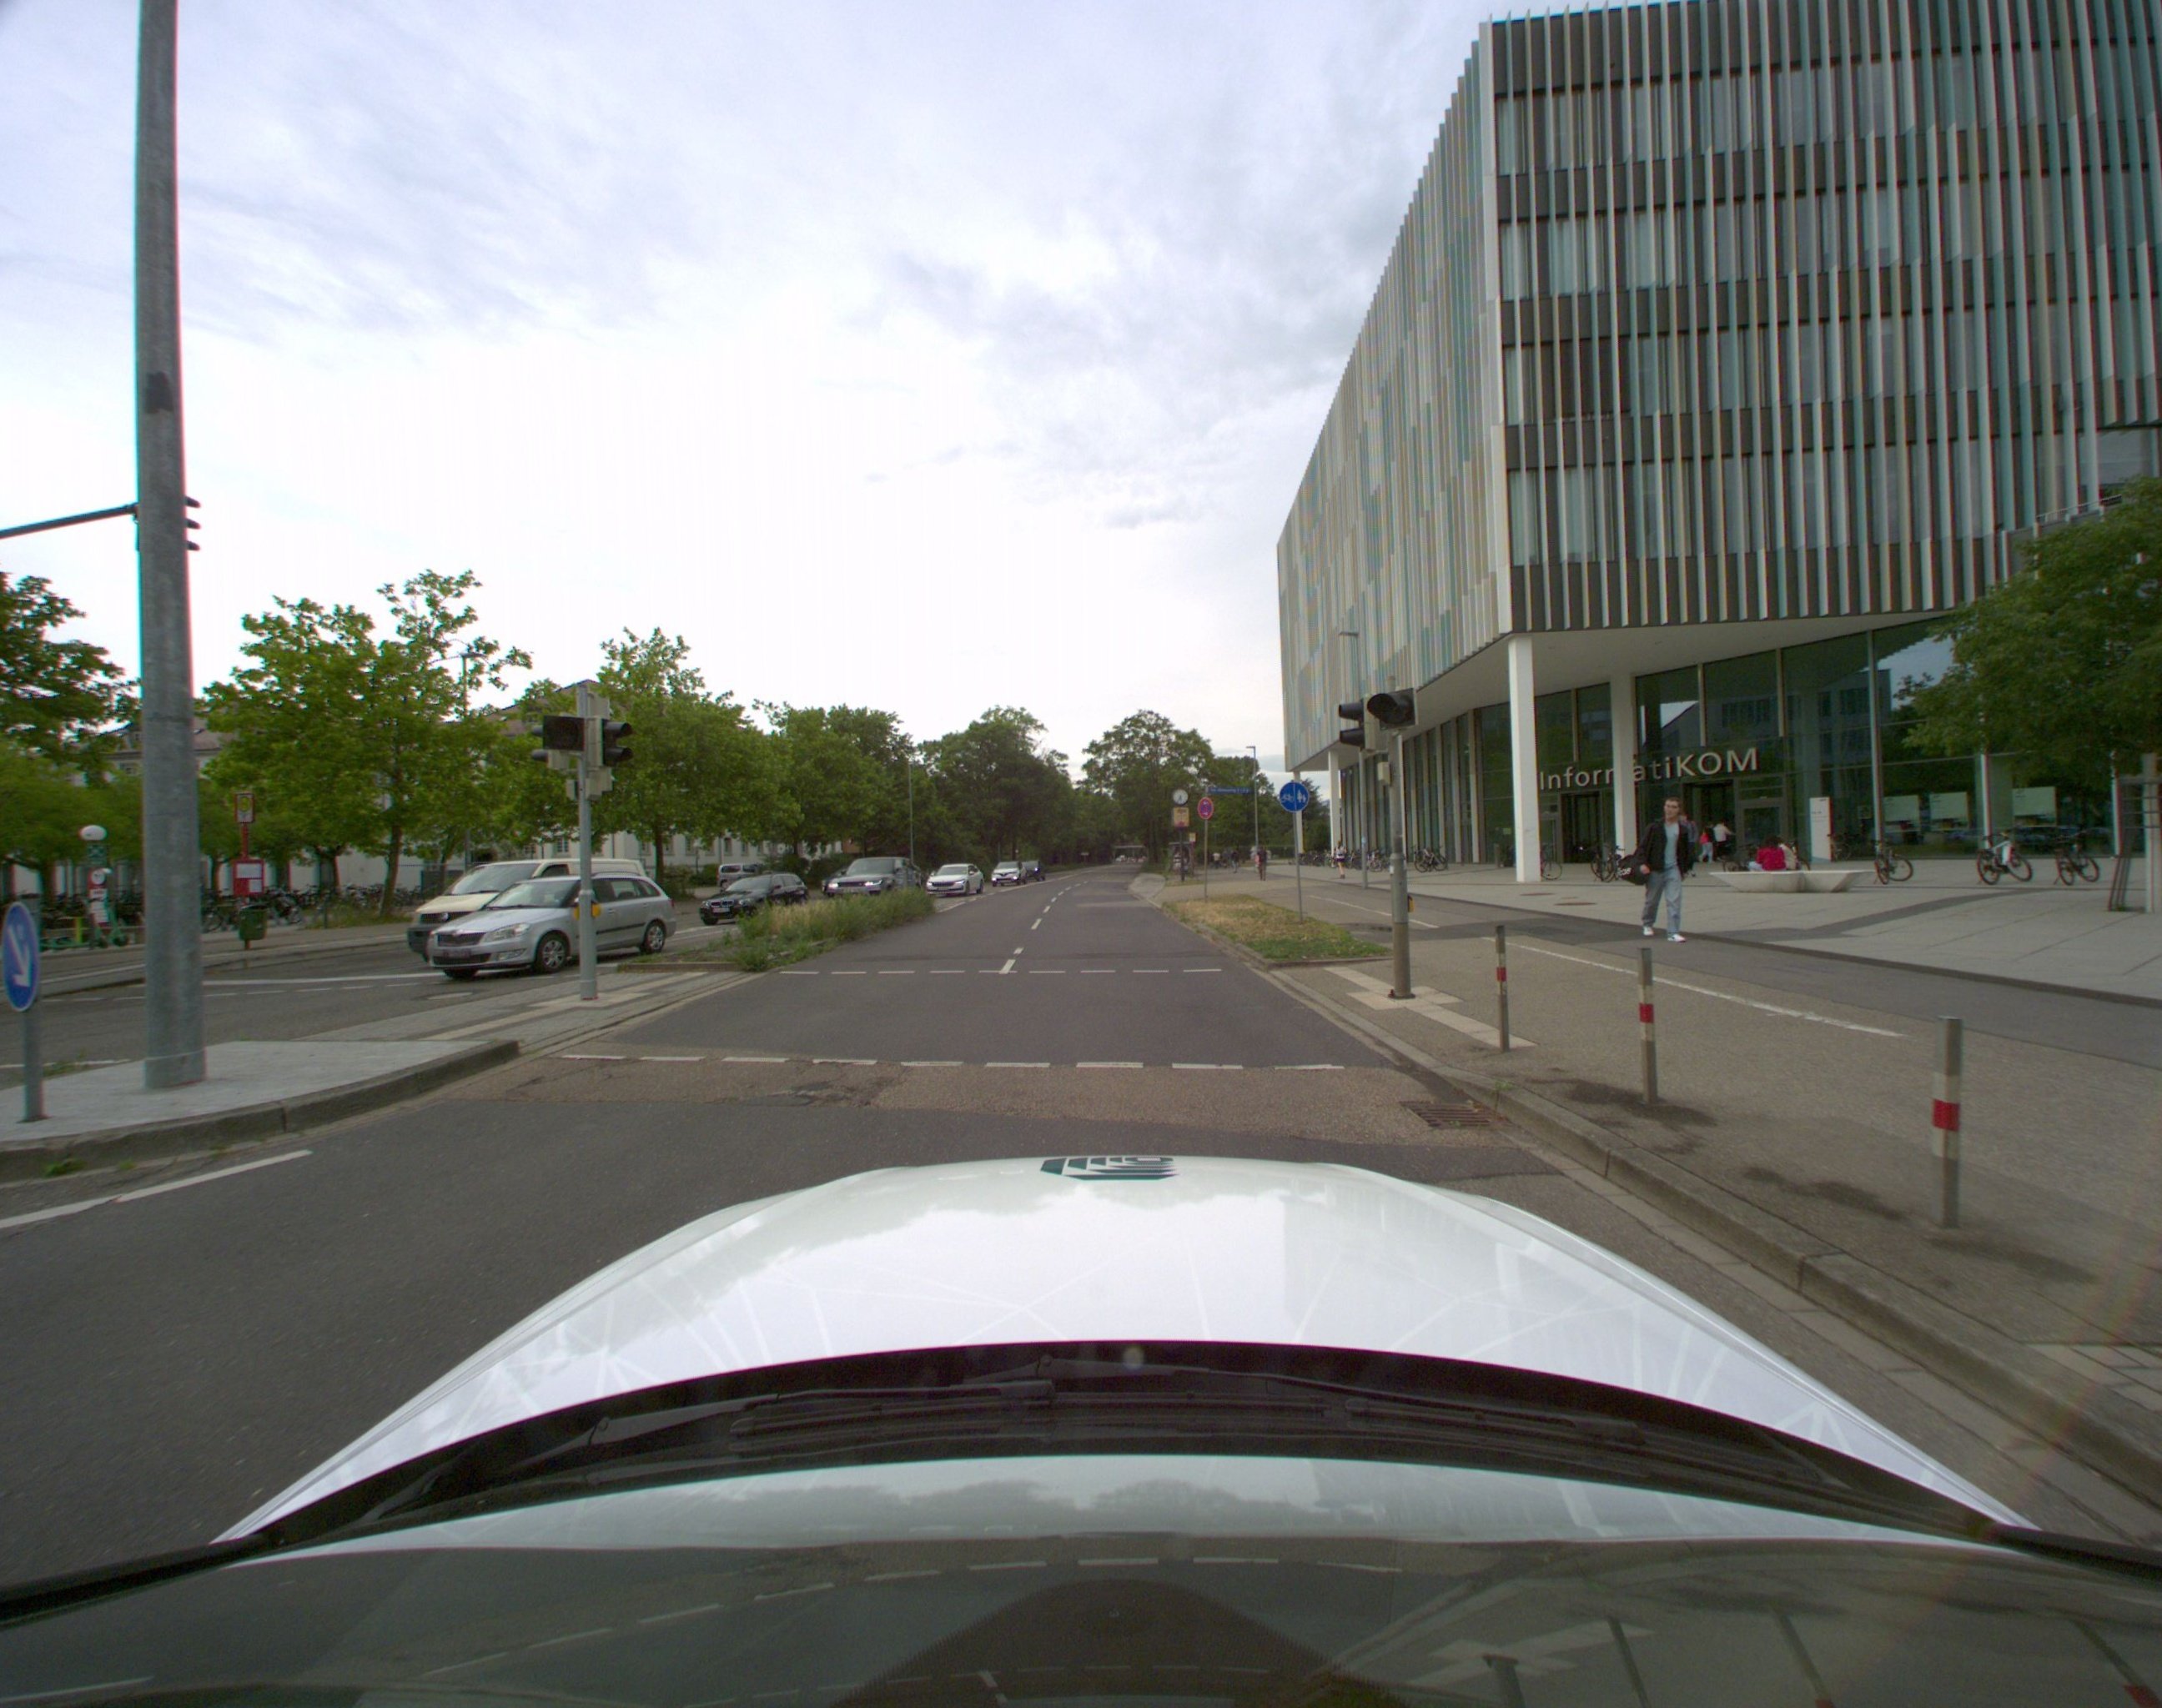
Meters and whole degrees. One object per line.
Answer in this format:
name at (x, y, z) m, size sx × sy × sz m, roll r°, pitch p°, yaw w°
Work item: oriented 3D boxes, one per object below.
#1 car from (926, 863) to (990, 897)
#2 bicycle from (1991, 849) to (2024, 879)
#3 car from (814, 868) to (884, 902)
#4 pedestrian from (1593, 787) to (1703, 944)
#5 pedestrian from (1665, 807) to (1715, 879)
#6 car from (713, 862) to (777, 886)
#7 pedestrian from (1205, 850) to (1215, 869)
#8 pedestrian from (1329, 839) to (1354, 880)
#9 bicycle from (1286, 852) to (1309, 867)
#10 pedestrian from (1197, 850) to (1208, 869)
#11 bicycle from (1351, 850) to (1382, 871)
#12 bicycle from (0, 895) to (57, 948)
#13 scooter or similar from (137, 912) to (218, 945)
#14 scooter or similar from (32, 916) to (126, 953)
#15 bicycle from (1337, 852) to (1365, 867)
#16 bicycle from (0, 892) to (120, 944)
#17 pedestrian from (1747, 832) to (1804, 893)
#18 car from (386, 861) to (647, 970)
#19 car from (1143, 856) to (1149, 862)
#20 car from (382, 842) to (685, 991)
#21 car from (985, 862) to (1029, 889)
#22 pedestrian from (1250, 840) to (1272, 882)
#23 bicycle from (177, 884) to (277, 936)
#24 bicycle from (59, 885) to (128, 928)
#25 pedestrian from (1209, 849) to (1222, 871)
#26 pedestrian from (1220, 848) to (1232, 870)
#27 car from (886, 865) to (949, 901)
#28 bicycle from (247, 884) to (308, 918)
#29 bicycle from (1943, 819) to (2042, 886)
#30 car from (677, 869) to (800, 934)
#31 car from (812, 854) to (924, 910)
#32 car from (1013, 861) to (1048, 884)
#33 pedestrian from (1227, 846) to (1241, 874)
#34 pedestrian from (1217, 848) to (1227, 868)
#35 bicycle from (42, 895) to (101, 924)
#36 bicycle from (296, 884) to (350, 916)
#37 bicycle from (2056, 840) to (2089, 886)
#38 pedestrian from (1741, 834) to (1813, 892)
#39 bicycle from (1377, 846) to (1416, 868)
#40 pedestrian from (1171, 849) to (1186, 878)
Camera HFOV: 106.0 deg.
car at (-5.712, 1.168, 38.433) m, size 1.894 × 1.465 × 4.918 m, roll 0°, pitch 0°, yaw 5°
bicycle at (21.658, 0.232, 19.025) m, size 1.700 × 0.632 × 0.427 m, roll -2°, pitch -1°, yaw -39°
car at (-11.957, 1.542, 42.249) m, size 1.849 × 1.607 × 4.601 m, roll 0°, pitch 0°, yaw 7°
pedestrian at (7.657, 0.153, 11.048) m, size 0.838 × 2.014 × 0.896 m, roll -2°, pitch -1°, yaw 6°
pedestrian at (18.182, -0.316, 24.345) m, size 1.170 × 2.062 × 1.142 m, roll -1°, pitch -1°, yaw 36°
car at (-22.608, 1.350, 54.908) m, size 3.571 × 1.602 × 1.653 m, roll 0°, pitch 0°, yaw 2°
pedestrian at (13.604, 0.589, 86.046) m, size 0.821 × 2.014 × 0.720 m, roll -2°, pitch -1°, yaw 0°
pedestrian at (11.886, 0.256, 37.245) m, size 0.839 × 1.836 × 0.895 m, roll -2°, pitch -1°, yaw 4°
bicycle at (18.438, 0.458, 69.411) m, size 1.787 × 1.082 × 0.627 m, roll -4°, pitch -1°, yaw 3°
pedestrian at (12.904, 0.604, 86.436) m, size 0.922 × 2.014 × 1.040 m, roll -2°, pitch -1°, yaw 1°
bicycle at (16.830, 0.378, 48.026) m, size 1.632 × 1.091 × 0.574 m, roll -5°, pitch -1°, yaw 13°
bicycle at (-33.525, 2.122, 25.178) m, size 2.650 × 1.559 × 0.781 m, roll -2°, pitch -1°, yaw -1°
scooter or similar at (-21.790, 1.787, 19.666) m, size 0.404 × 0.693 × 1.292 m, roll 0°, pitch 0°, yaw 8°
scooter or similar at (-22.263, 1.783, 18.123) m, size 0.404 × 0.693 × 1.292 m, roll 0°, pitch 0°, yaw 8°
bicycle at (17.912, 0.365, 54.046) m, size 1.680 × 0.947 × 0.518 m, roll -2°, pitch -1°, yaw 11°
bicycle at (-33.962, 2.120, 27.086) m, size 2.654 × 1.559 × 0.921 m, roll -2°, pitch -1°, yaw -6°
pedestrian at (14.324, 0.174, 16.822) m, size 0.834 × 1.206 × 0.900 m, roll -3°, pitch -1°, yaw 39°
car at (-11.036, 1.090, 16.413) m, size 1.762 × 1.848 × 4.497 m, roll 0°, pitch 0°, yaw 7°
car at (20.725, 1.526, 258.446) m, size 1.834 × 2.014 × 4.006 m, roll 0°, pitch 0°, yaw 5°
car at (-8.664, 0.900, 13.416) m, size 1.984 × 2.014 × 4.006 m, roll -2°, pitch -1°, yaw 5°
car at (-4.622, 1.343, 51.619) m, size 1.984 × 1.547 × 4.185 m, roll -4°, pitch -1°, yaw 5°
pedestrian at (8.897, 0.357, 40.295) m, size 0.838 × 2.013 × 0.896 m, roll -4°, pitch -1°, yaw 6°
bicycle at (-28.194, 1.832, 26.920) m, size 2.189 × 1.559 × 0.898 m, roll -2°, pitch -1°, yaw -6°
bicycle at (-38.521, 2.050, 31.754) m, size 2.635 × 1.559 × 0.927 m, roll -3°, pitch -1°, yaw 22°
pedestrian at (12.609, 0.560, 76.436) m, size 0.922 × 2.014 × 1.040 m, roll -2°, pitch -1°, yaw 1°
pedestrian at (13.537, 0.497, 76.058) m, size 0.922 × 2.014 × 1.040 m, roll -2°, pitch -1°, yaw 1°
car at (-8.526, 1.504, 42.969) m, size 1.984 × 1.694 × 4.474 m, roll -2°, pitch -1°, yaw 5°
bicycle at (-39.050, 2.287, 39.566) m, size 3.052 × 1.559 × 0.927 m, roll -2°, pitch -1°, yaw 22°
bicycle at (19.919, -0.043, 17.793) m, size 2.007 × 1.306 × 0.642 m, roll -4°, pitch 1°, yaw -17°
car at (-10.223, 1.354, 24.680) m, size 1.690 × 1.689 × 4.006 m, roll -2°, pitch -1°, yaw 5°
car at (-6.952, 0.855, 27.207) m, size 1.983 × 1.687 × 4.956 m, roll -1°, pitch 0°, yaw 6°
car at (-3.753, 1.328, 61.090) m, size 1.894 × 1.593 × 4.523 m, roll -2°, pitch -1°, yaw 5°
pedestrian at (11.247, 0.458, 59.852) m, size 0.838 × 2.014 × 0.896 m, roll -2°, pitch -1°, yaw 6°
pedestrian at (14.921, 0.412, 86.257) m, size 0.820 × 2.014 × 0.721 m, roll -3°, pitch -1°, yaw 4°
bicycle at (-45.544, 2.503, 36.728) m, size 2.635 × 1.205 × 0.927 m, roll -2°, pitch -1°, yaw 22°
bicycle at (-38.506, 2.345, 41.362) m, size 2.635 × 1.559 × 0.927 m, roll -2°, pitch -1°, yaw 22°
bicycle at (20.528, 0.172, 16.866) m, size 1.480 × 0.899 × 0.390 m, roll -2°, pitch -1°, yaw -39°
pedestrian at (14.825, 0.189, 17.382) m, size 0.884 × 1.193 × 0.849 m, roll -2°, pitch -1°, yaw 19°
bicycle at (18.563, 0.179, 47.968) m, size 0.652 × 1.144 × 1.963 m, roll -4°, pitch -1°, yaw -44°
pedestrian at (7.084, 0.675, 59.128) m, size 0.908 × 2.013 × 0.855 m, roll -4°, pitch 1°, yaw 4°
